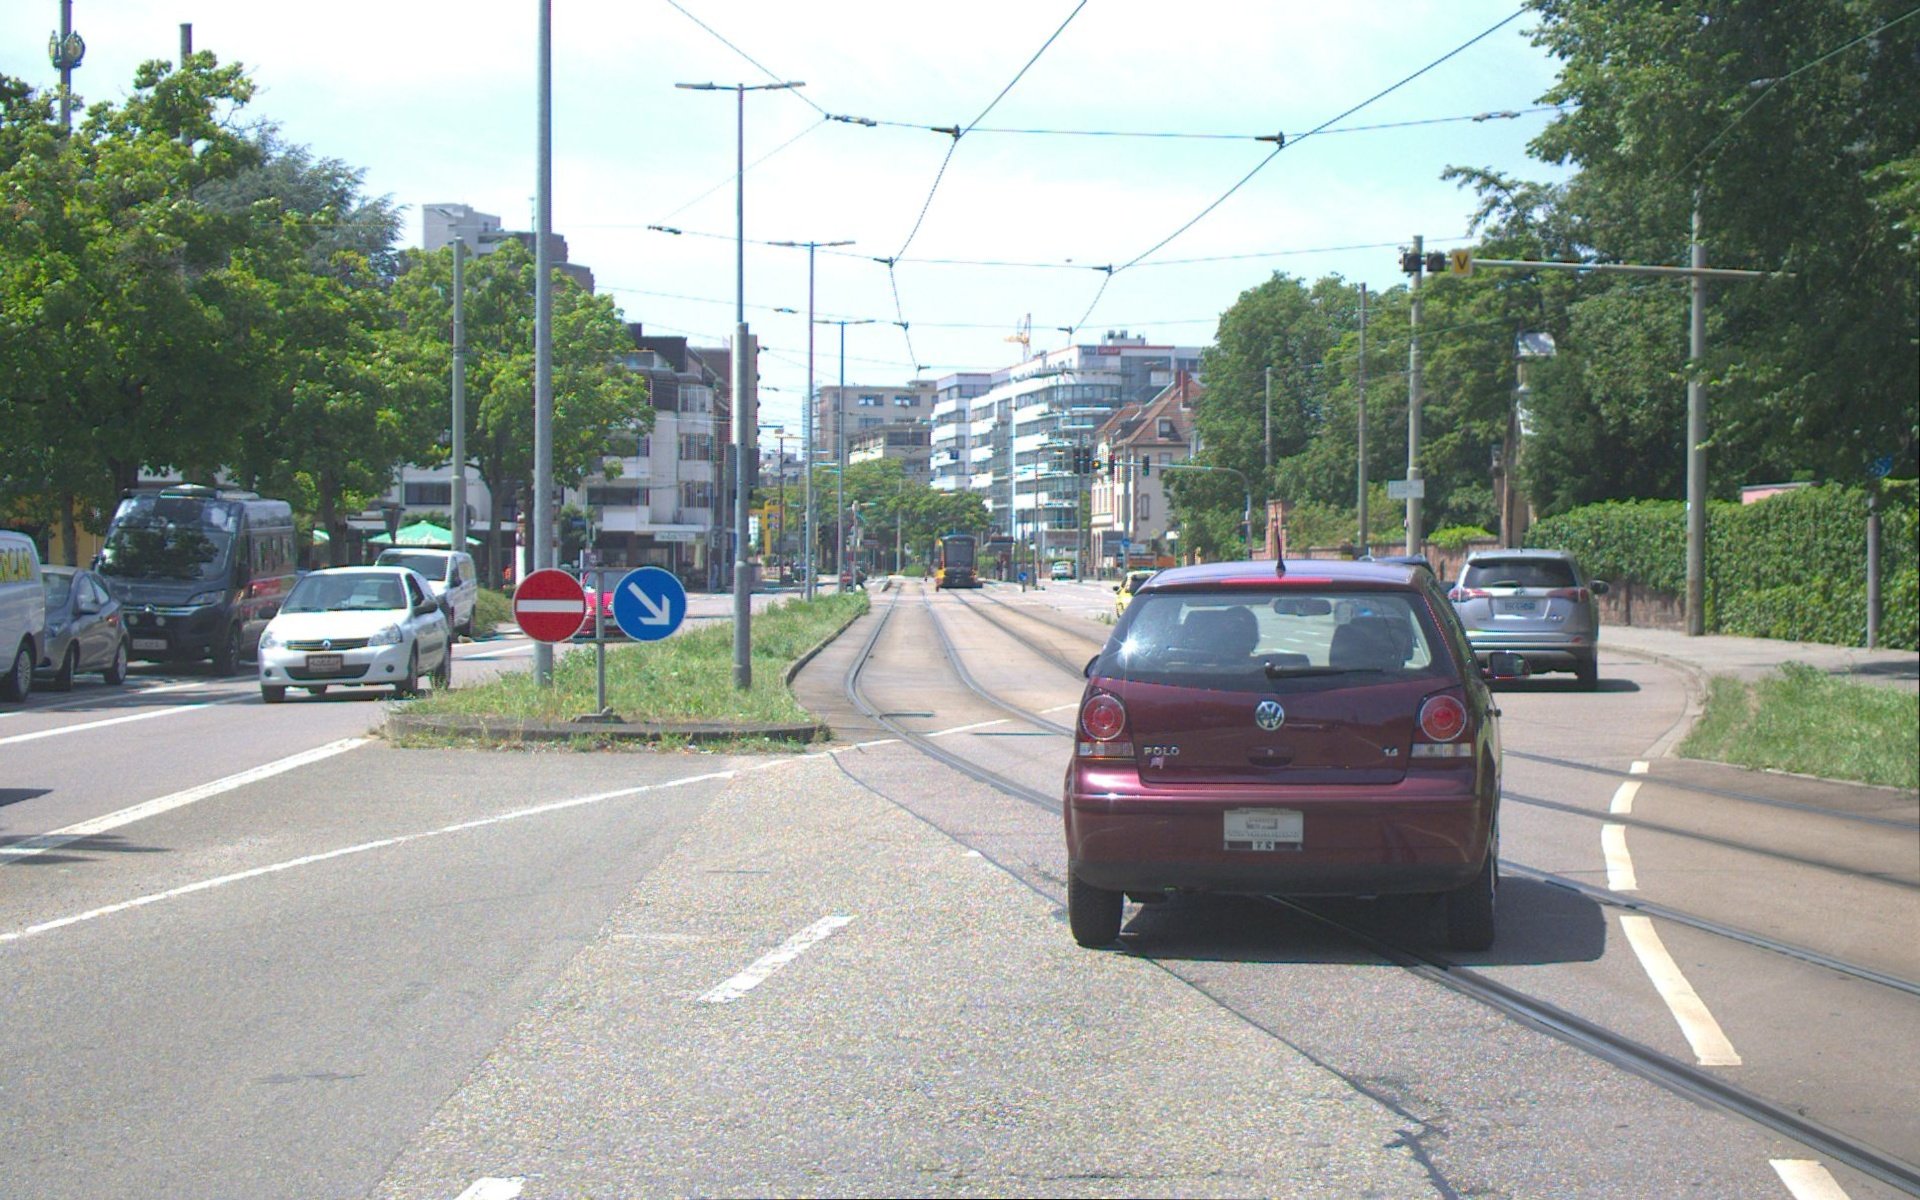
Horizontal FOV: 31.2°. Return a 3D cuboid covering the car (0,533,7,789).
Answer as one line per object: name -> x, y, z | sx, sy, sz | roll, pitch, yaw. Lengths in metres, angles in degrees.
car -> -6.746, 0.408, 19.399 | 1.737, 1.570, 3.713 | -1, 1, -1

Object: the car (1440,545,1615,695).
car -> 6.868, 0.209, 41.345 | 1.796, 1.677, 3.998 | 1, 1, 13

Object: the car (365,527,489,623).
car -> -11.310, -0.549, 73.227 | 1.875, 1.959, 5.165 | 0, 1, -1

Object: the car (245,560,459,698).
car -> -6.533, 0.287, 37.277 | 1.648, 1.372, 3.811 | -2, 0, -1

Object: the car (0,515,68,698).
car -> -11.068, 0.022, 36.252 | 1.862, 1.930, 4.805 | 4, 1, 1

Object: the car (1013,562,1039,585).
car -> 3.705, -1.493, 193.716 | 1.354, 1.248, 2.972 | 1, 1, 0

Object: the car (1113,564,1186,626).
car -> 5.371, -0.165, 97.681 | 1.795, 1.677, 4.000 | 1, 1, 0

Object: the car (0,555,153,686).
car -> -11.051, 0.214, 42.074 | 1.405, 1.435, 3.840 | 4, 1, -1

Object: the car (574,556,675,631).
car -> -6.570, -0.143, 67.565 | 1.657, 1.405, 3.606 | -1, 1, -1

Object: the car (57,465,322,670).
car -> -11.075, -0.485, 49.946 | 2.398, 2.647, 6.173 | 4, 1, -1

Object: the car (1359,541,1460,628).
car -> 8.817, -0.326, 67.636 | 1.774, 1.625, 3.999 | 1, 1, 5

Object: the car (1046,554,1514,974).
car -> 1.457, 0.570, 14.323 | 1.610, 1.493, 3.998 | -1, 1, 10
